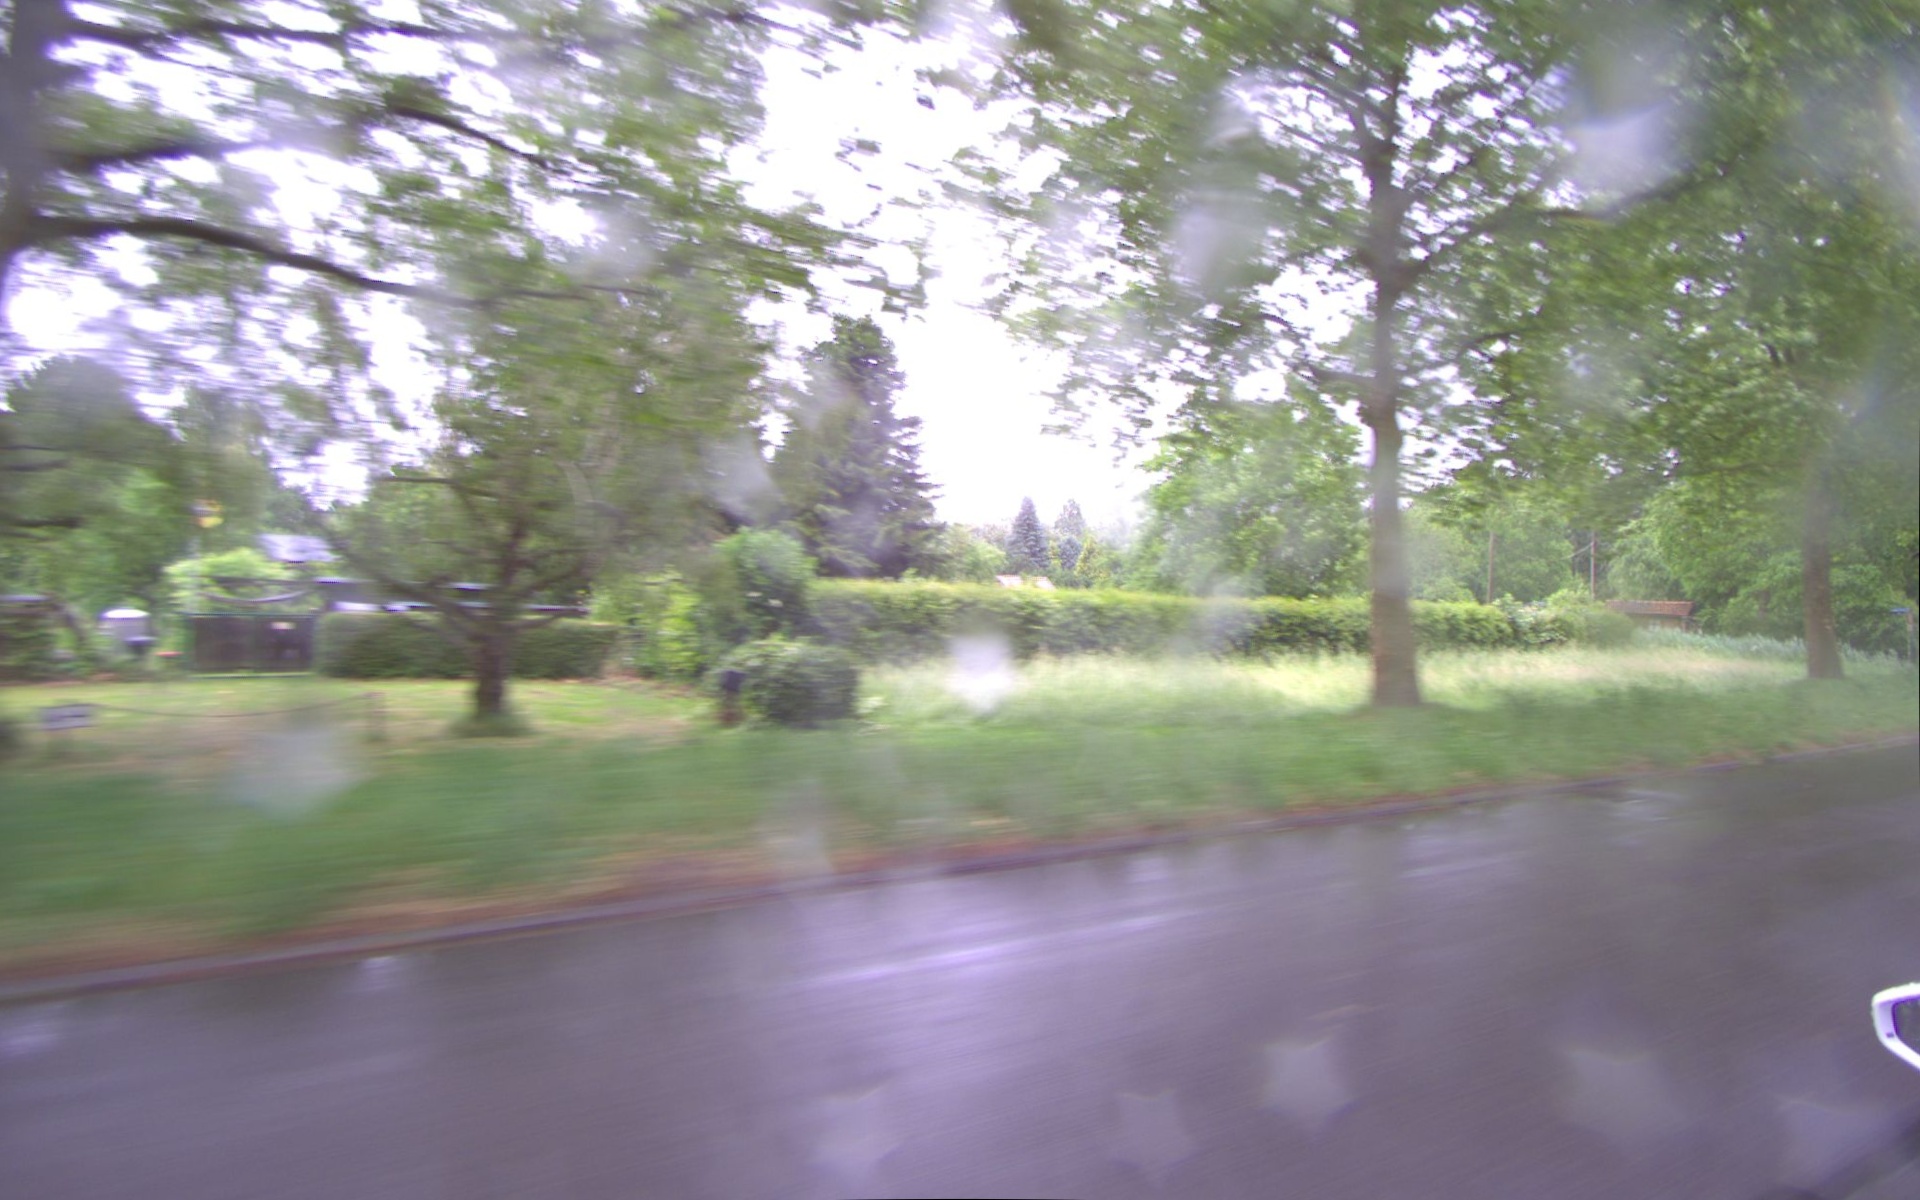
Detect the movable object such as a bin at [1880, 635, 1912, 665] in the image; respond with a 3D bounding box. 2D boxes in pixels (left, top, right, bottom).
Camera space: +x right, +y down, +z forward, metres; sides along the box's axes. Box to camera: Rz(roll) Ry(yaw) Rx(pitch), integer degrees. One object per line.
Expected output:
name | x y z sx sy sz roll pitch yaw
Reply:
movable object such as a bin | 47.420 2.508 50.897 0.956 1.441 0.956 1 1 -35
